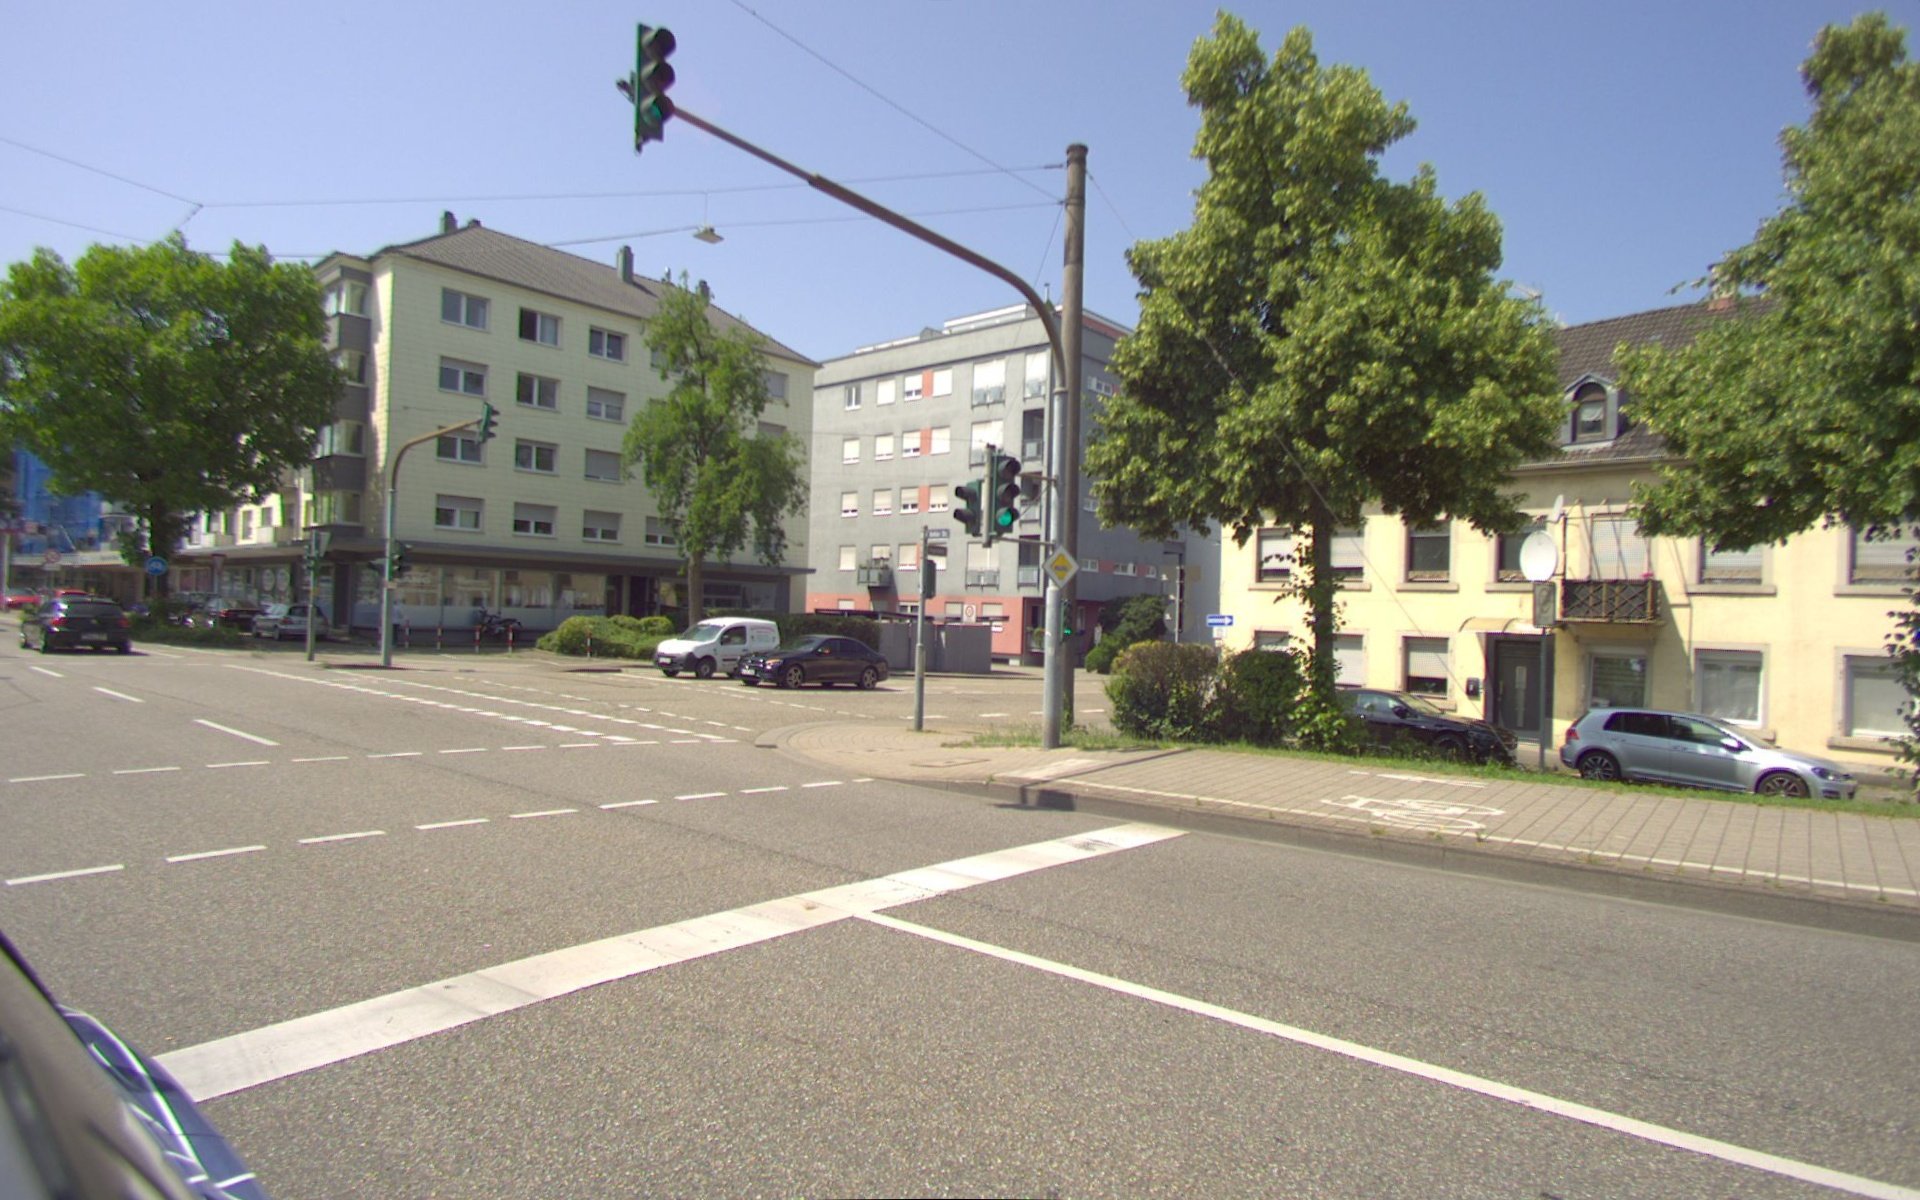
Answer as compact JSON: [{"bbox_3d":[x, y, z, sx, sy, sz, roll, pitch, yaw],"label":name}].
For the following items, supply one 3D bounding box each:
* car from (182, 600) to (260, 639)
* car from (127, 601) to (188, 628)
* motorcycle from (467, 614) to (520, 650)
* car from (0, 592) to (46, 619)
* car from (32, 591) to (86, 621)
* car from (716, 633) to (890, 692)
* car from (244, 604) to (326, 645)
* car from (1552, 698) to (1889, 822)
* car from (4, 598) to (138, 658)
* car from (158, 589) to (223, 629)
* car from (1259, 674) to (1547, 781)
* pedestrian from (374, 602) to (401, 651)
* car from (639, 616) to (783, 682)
[{"bbox_3d":[-32.632,0.831,44.630,4.835,1.581,1.605,1,-1,40],"label":"car"},{"bbox_3d":[-41.285,0.723,52.033,3.857,1.296,1.683,1,0,39],"label":"car"},{"bbox_3d":[-19.781,1.353,42.952,0.714,1.431,1.895,3,1,40],"label":"motorcycle"},{"bbox_3d":[-56.570,0.294,60.581,4.326,1.531,1.890,1,-2,37],"label":"car"},{"bbox_3d":[-48.074,0.312,53.977,3.632,1.479,1.618,1,-2,40],"label":"car"},{"bbox_3d":[-4.228,1.763,27.921,2.112,1.411,4.563,1,-4,36],"label":"car"},{"bbox_3d":[-26.463,0.934,39.618,3.936,1.470,1.566,1,-1,40],"label":"car"},{"bbox_3d":[12.996,2.636,17.515,1.755,1.443,4.434,1,0,-43],"label":"car"},{"bbox_3d":[-23.049,0.706,26.193,4.044,1.410,1.819,1,-3,38],"label":"car"},{"bbox_3d":[-36.973,0.427,48.609,3.856,1.853,1.622,1,-1,39],"label":"car"},{"bbox_3d":[9.245,2.601,21.542,1.793,1.640,5.292,6,-3,-43],"label":"car"},{"bbox_3d":[-21.347,1.014,37.726,0.742,1.773,0.621,-5,-6,39],"label":"pedestrian"},{"bbox_3d":[-7.238,1.463,29.671,1.891,1.748,3.650,1,-4,38],"label":"car"}]
